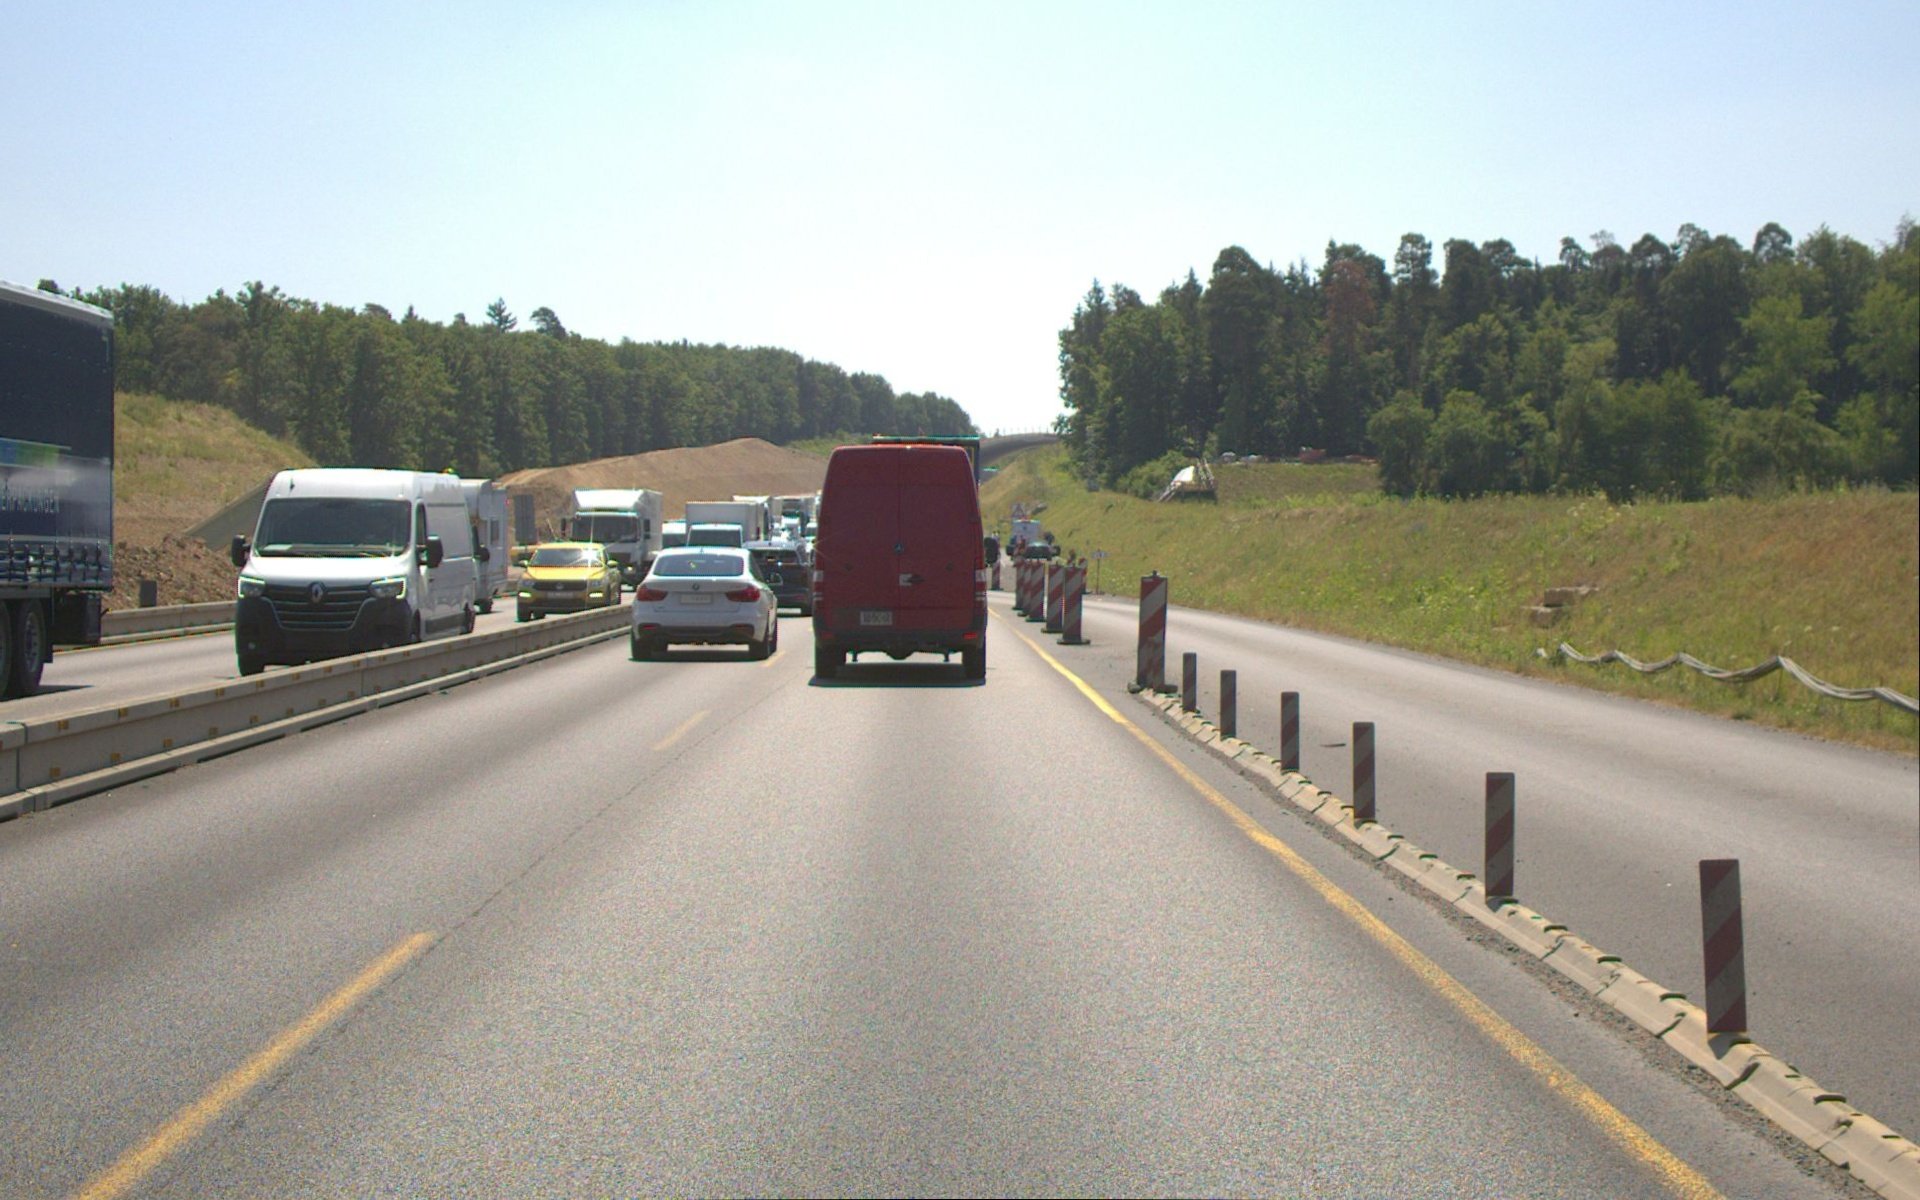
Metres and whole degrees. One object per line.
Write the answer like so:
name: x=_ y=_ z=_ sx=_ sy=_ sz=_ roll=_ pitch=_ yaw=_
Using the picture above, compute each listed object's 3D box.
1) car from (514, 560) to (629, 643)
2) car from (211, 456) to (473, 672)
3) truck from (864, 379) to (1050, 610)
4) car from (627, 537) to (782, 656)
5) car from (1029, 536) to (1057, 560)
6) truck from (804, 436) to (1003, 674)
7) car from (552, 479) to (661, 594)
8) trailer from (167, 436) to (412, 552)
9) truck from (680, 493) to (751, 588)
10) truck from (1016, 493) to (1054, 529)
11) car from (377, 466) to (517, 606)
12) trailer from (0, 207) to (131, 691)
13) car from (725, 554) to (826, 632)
car: x=-7.735 y=0.010 z=68.750 sx=1.762 sy=1.568 sz=4.362 roll=1 pitch=1 yaw=0
car: x=-7.205 y=-0.475 z=40.734 sx=2.035 sy=2.335 sz=6.196 roll=1 pitch=2 yaw=-1
truck: x=-0.160 y=-2.608 z=90.793 sx=4.400 sy=5.477 sz=16.604 roll=1 pitch=1 yaw=-1
car: x=-3.421 y=-0.070 z=46.666 sx=1.831 sy=1.517 sz=3.961 roll=1 pitch=1 yaw=-1
car: x=5.365 y=-3.368 z=223.479 sx=1.654 sy=1.422 sz=4.545 roll=-2 pitch=2 yaw=0
truck: x=-0.646 y=-0.519 z=40.426 sx=2.153 sy=2.581 sz=5.333 roll=1 pitch=1 yaw=-1
car: x=-11.890 y=-2.168 z=116.359 sx=2.908 sy=3.727 sz=8.091 roll=1 pitch=1 yaw=-1
trailer: x=-24.250 y=-3.834 z=124.380 sx=8.350 sy=4.084 sz=2.797 roll=1 pitch=0 yaw=18
truck: x=-8.334 y=-2.021 z=117.809 sx=2.271 sy=3.139 sz=7.315 roll=1 pitch=1 yaw=-3
truck: x=5.272 y=-6.237 z=241.449 sx=2.130 sy=2.448 sz=5.924 roll=1 pitch=2 yaw=6
car: x=-11.254 y=-1.381 z=75.882 sx=2.251 sy=2.945 sz=5.849 roll=1 pitch=1 yaw=-1
trailer: x=-10.572 y=-1.431 z=31.393 sx=2.985 sy=4.580 sz=12.884 roll=1 pitch=1 yaw=-1
car: x=-3.930 y=-0.179 z=73.894 sx=1.967 sy=1.536 sz=4.311 roll=1 pitch=2 yaw=-1
